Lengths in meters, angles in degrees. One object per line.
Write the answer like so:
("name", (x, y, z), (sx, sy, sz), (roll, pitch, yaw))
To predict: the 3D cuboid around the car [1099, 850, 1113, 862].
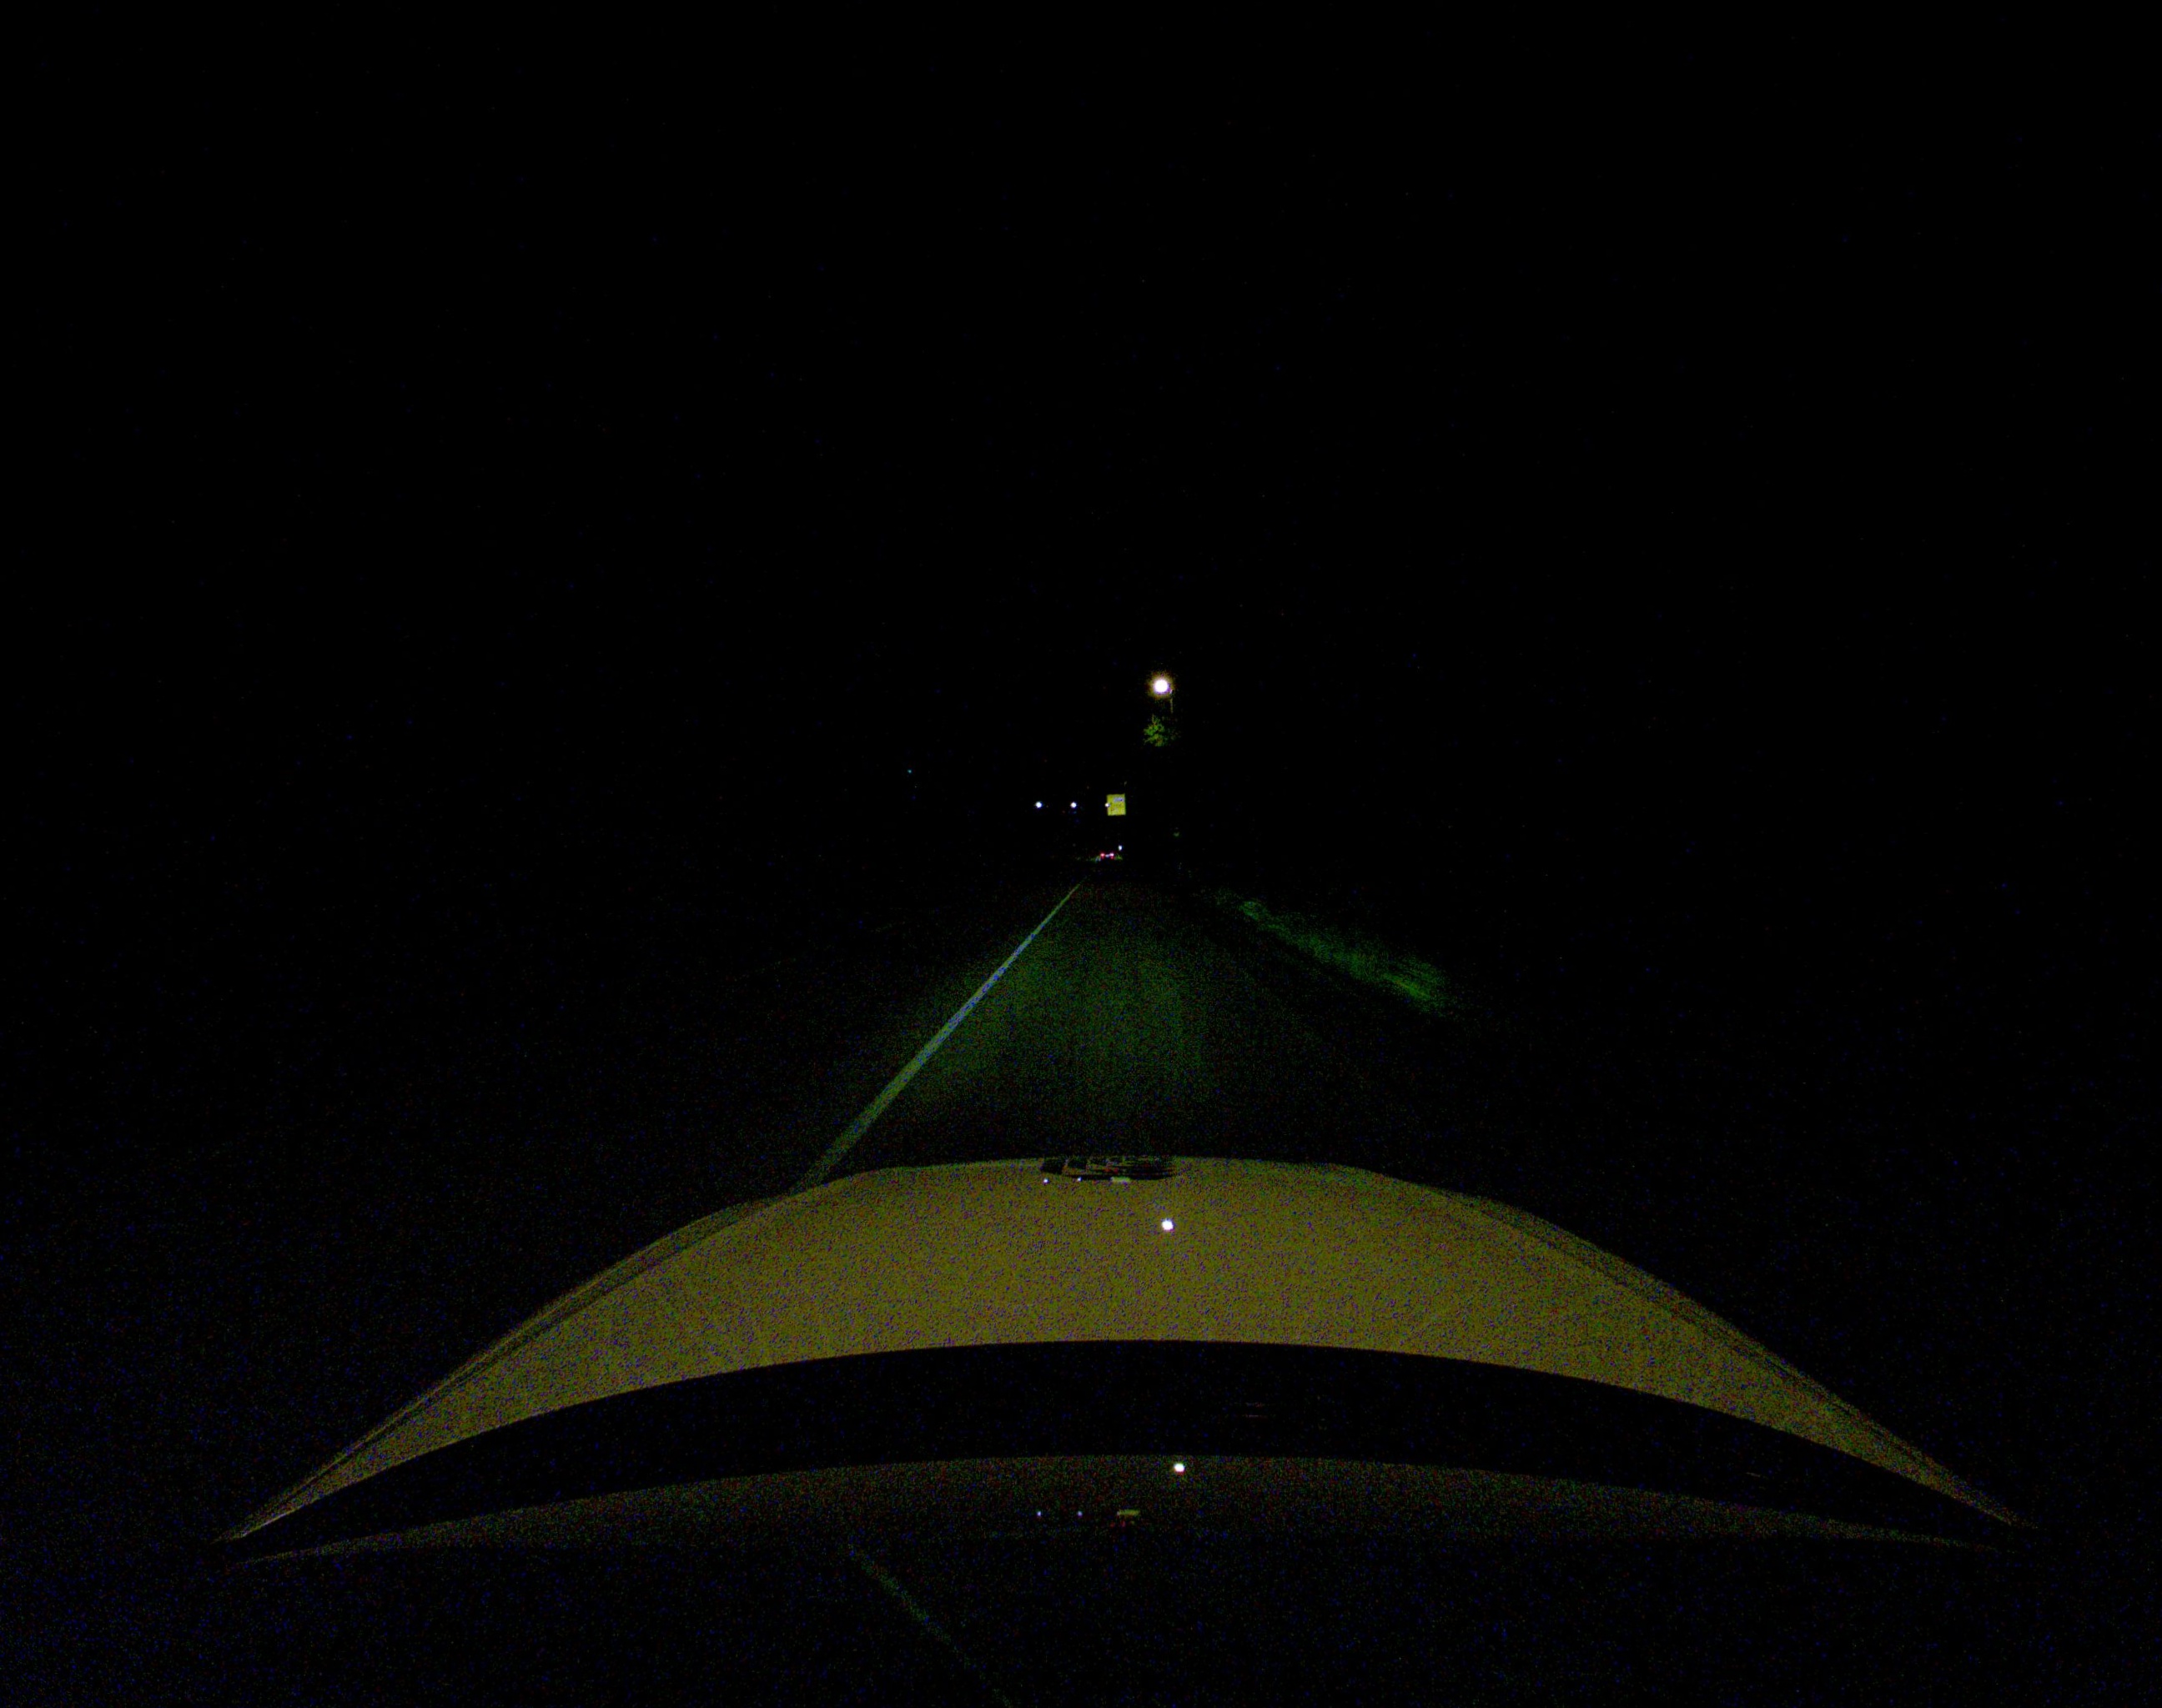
("car", (3.485, 0.246, 114.007), (1.758, 1.641, 3.721), (-2, 1, -1))
